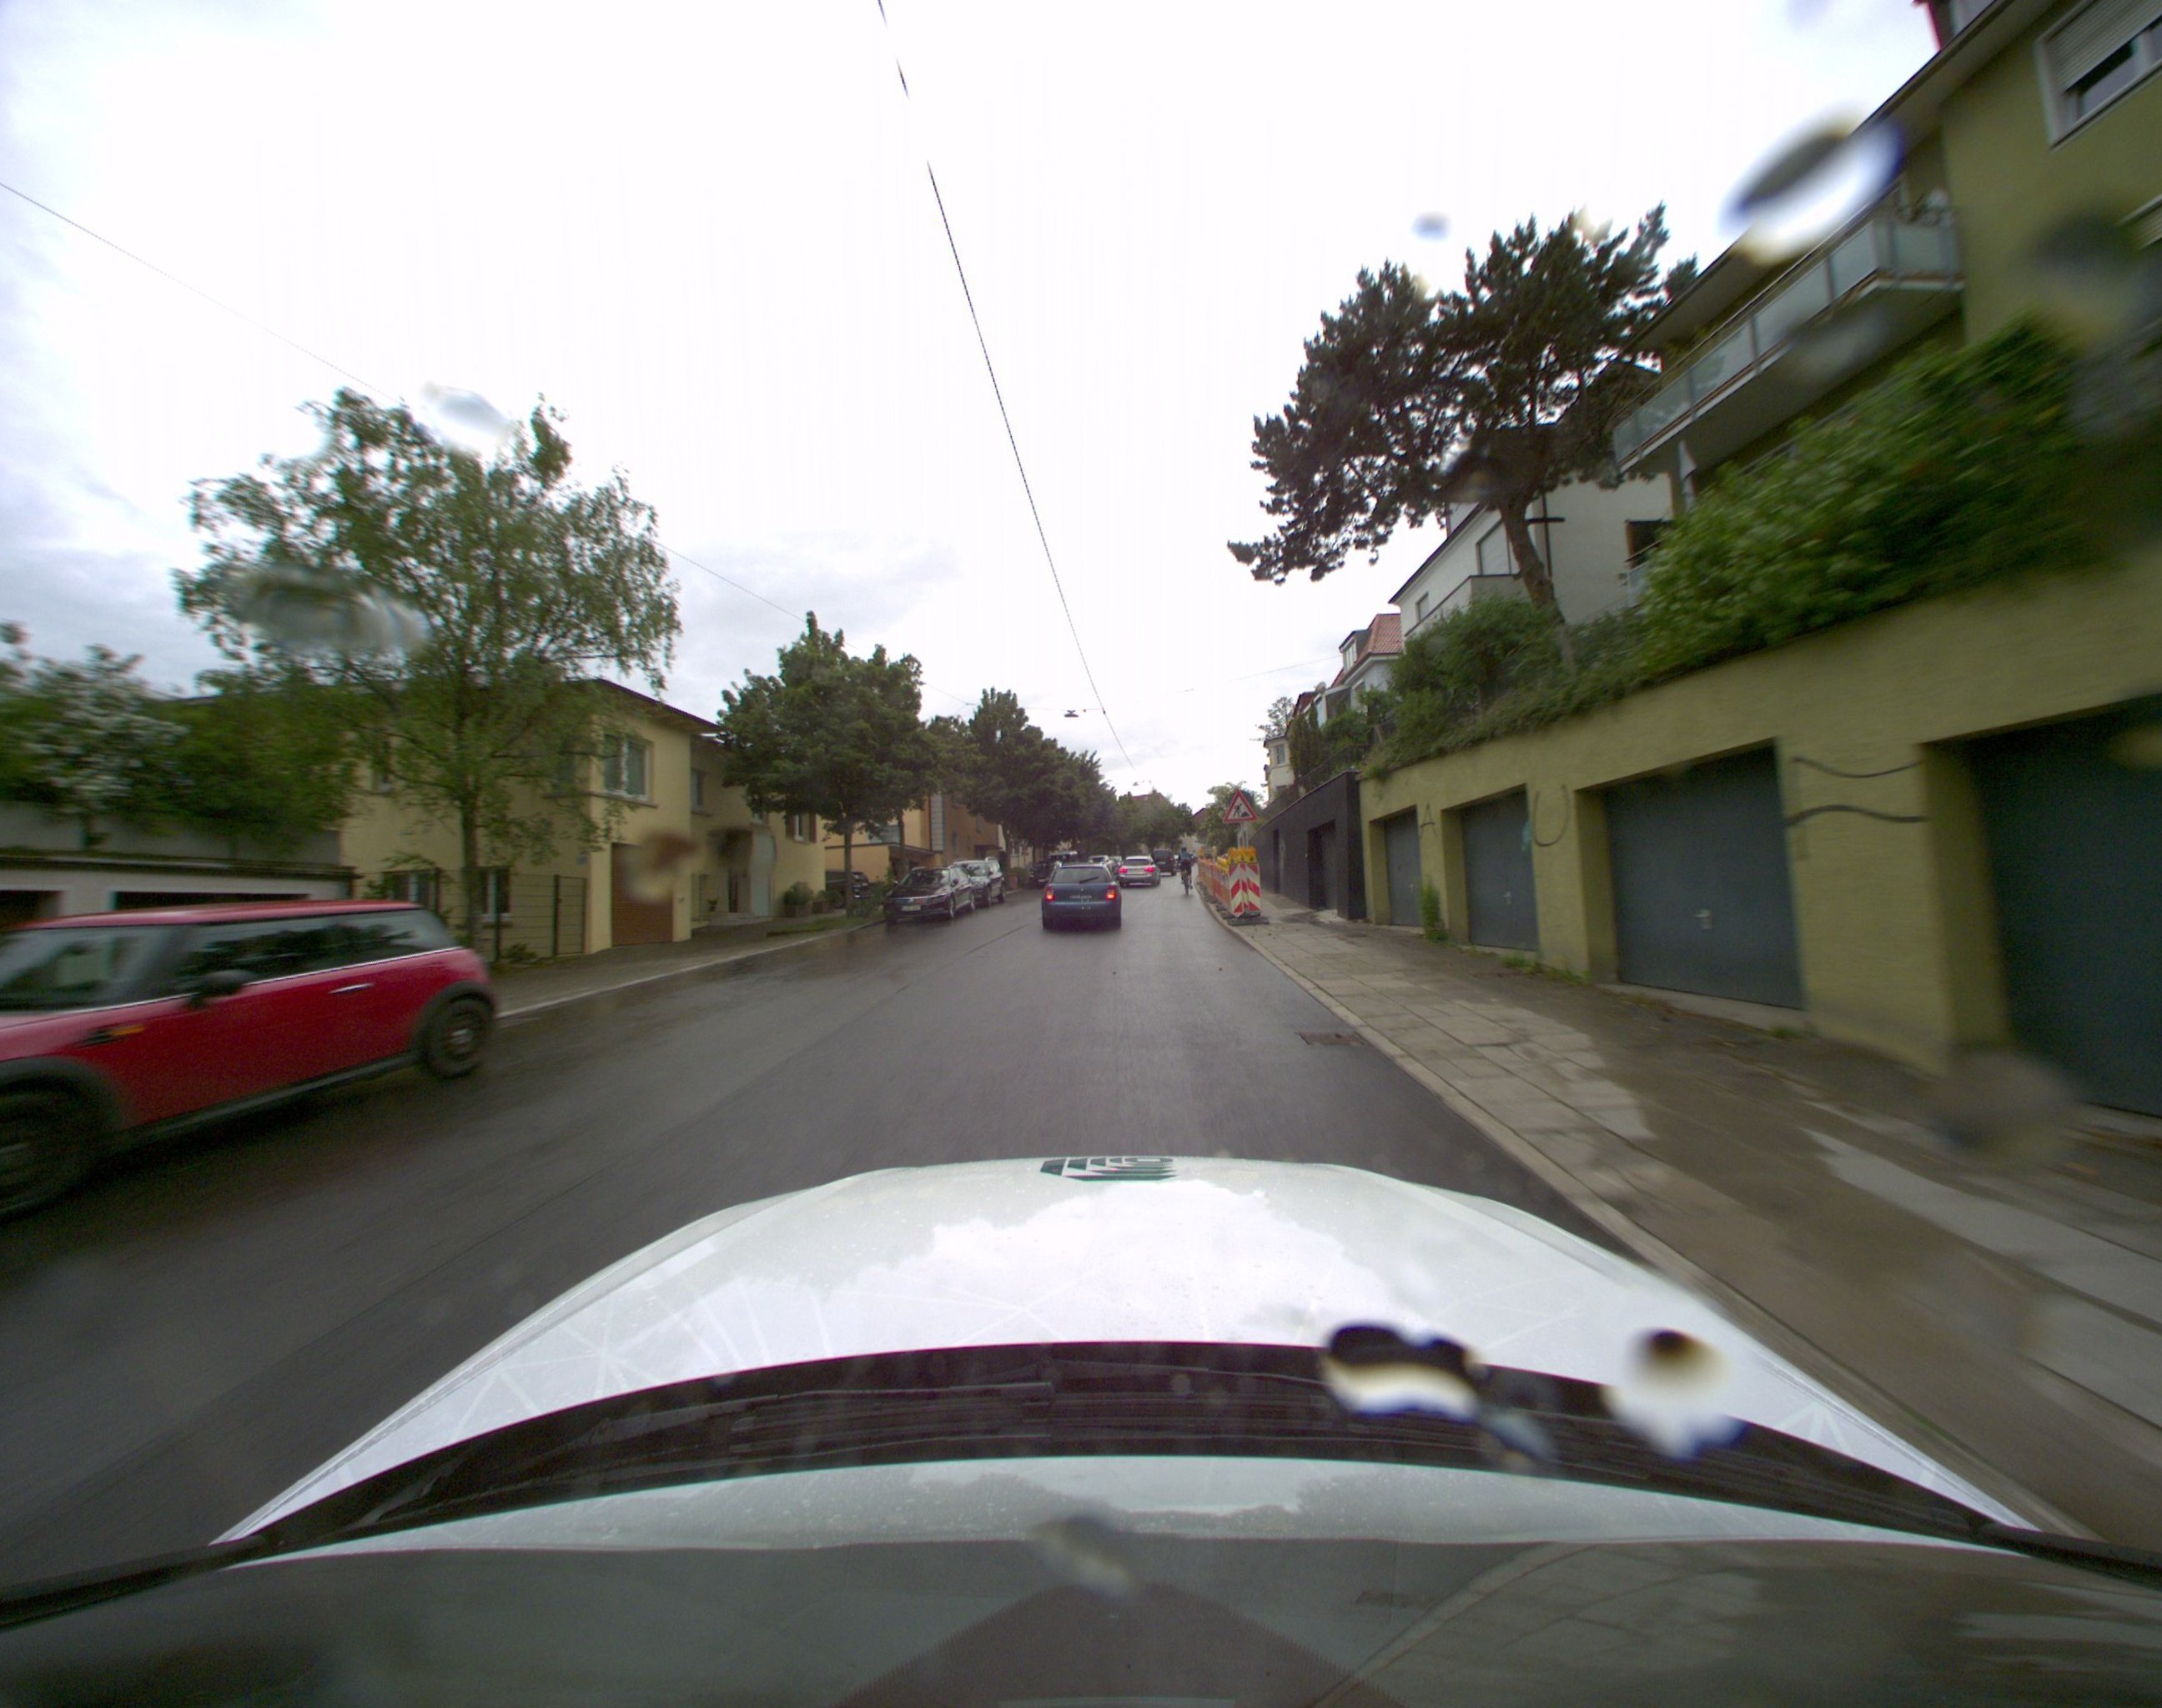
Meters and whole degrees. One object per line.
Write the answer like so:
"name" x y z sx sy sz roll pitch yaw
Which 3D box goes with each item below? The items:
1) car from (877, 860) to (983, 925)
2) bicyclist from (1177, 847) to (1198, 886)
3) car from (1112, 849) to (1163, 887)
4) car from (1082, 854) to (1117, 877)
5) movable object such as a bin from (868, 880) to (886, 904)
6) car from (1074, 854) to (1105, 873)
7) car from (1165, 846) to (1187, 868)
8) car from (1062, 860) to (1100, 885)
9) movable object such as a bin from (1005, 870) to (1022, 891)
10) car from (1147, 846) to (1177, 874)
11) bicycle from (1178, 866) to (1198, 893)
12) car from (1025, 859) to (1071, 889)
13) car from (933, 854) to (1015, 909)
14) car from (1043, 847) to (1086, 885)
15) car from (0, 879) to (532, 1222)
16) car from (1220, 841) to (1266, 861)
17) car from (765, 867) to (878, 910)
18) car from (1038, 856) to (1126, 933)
"car" -4.206 1.032 23.471 1.760 1.535 4.611 -4 0 4
"bicyclist" 4.058 0.471 30.943 0.721 1.472 0.888 -2 0 8
"car" 2.790 0.639 39.354 1.963 1.635 4.248 0 2 10
"car" 1.494 0.894 63.823 1.756 1.627 4.705 -4 -1 12
"movable object such as a bin" -9.128 1.703 36.411 0.584 1.023 0.587 -1 0 4
"car" 0.999 1.096 95.770 3.189 1.740 1.484 -9 0 12
"car" 8.351 0.211 71.582 1.723 1.768 4.247 0 2 9
"car" 0.048 1.269 57.019 1.757 1.387 4.647 -4 1 10
"movable object such as a bin" -3.594 1.393 43.287 0.680 1.011 0.708 -7 0 2
"car" 5.712 0.382 57.067 1.723 1.768 4.248 0 2 10
"bicycle" 4.078 0.943 31.005 0.726 0.965 1.674 -1 0 8
"car" -1.771 1.051 45.080 1.759 1.436 4.356 -4 -1 7
"car" -3.705 0.901 29.000 1.759 1.634 4.118 -6 0 7
"car" -0.963 0.689 50.806 1.781 2.049 4.793 -5 0 8
"car" -5.610 0.960 4.986 1.675 1.472 3.868 -2 -1 3
"car" 14.979 -0.290 75.363 3.958 1.466 1.746 -4 0 14
"car" -10.845 1.431 34.229 4.032 1.646 1.867 -2 -1 6
"car" 0.129 0.841 18.854 1.725 1.466 4.006 0 2 5
